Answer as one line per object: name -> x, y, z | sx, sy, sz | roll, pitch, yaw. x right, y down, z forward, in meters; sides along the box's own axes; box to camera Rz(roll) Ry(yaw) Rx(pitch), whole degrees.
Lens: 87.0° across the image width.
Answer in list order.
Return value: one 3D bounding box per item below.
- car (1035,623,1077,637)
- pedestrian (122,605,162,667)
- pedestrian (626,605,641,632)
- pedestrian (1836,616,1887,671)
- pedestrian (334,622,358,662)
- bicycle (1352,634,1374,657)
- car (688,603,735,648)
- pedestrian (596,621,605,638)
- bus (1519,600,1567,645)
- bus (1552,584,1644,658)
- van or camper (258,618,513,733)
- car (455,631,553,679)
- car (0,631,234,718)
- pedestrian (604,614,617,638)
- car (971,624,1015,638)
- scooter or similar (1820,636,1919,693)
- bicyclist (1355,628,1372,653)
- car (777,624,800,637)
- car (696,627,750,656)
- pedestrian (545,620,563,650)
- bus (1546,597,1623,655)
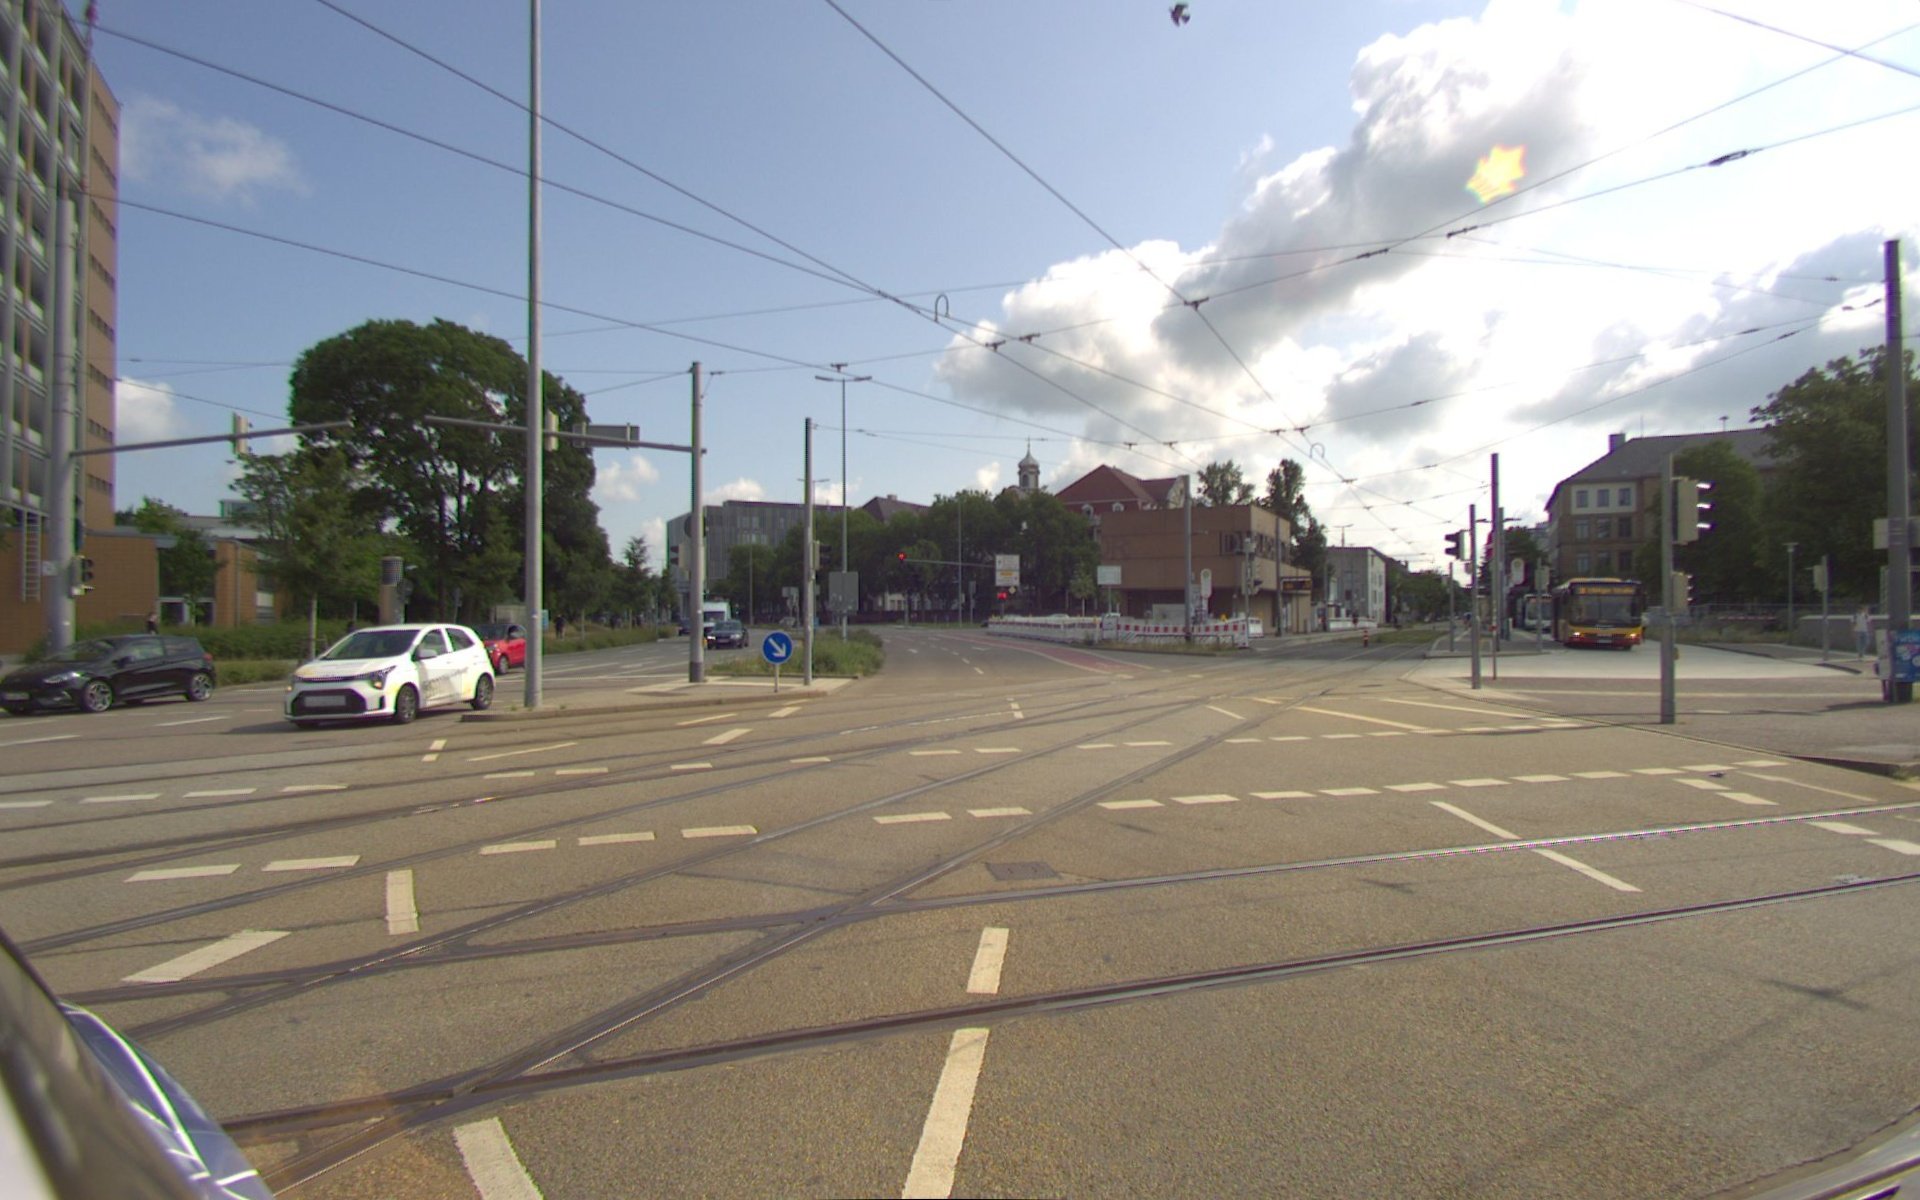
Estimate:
car -> 9.875, 3.034, 103.935 | 4.059, 1.401, 1.765 | 0, -2, -28
pedestrian -> -27.975, 1.242, 34.611 | 0.724, 2.028, 0.797 | 5, 0, 39
pedestrian -> -24.802, 1.421, 76.947 | 0.970, 2.029, 1.133 | 1, 0, -16
pedestrian -> 29.586, 1.422, 33.237 | 0.925, 1.702, 1.088 | -3, 0, 26
pedestrian -> -24.557, 1.668, 40.497 | 0.474, 1.532, 0.580 | 4, 0, 5
bicycle -> 19.185, 2.170, 48.127 | 0.808, 1.000, 2.051 | 1, -3, 26
car -> -16.823, 1.718, 68.924 | 2.447, 2.901, 6.159 | -1, -2, -7
pedestrian -> -44.711, 3.685, 126.043 | 0.970, 2.029, 1.133 | 0, -2, -15
bus -> 49.186, 1.883, 85.669 | 2.951, 3.534, 12.137 | -1, -2, 28
bus -> 26.789, 0.915, 42.762 | 2.688, 2.855, 7.032 | -1, -2, 28
van or camper -> -8.802, 1.080, 15.941 | 1.607, 1.487, 3.997 | -2, 0, 2
car -> -13.814, 1.638, 30.815 | 1.588, 1.223, 3.009 | 1, 1, 1
car -> -16.976, 1.405, 20.288 | 1.693, 1.465, 3.991 | -1, 0, 7
pedestrian -> -30.784, 2.282, 89.048 | 0.970, 2.029, 1.133 | 1, 0, -16
car -> 3.258, 3.082, 100.404 | 4.059, 1.401, 1.765 | 0, -2, -28
scooter or similar -> 20.969, 1.468, 23.145 | 1.469, 1.198, 1.342 | 1, 0, -13
bicyclist -> 19.197, 1.926, 48.154 | 0.693, 1.161, 0.732 | 1, -3, 26
car -> -23.164, 4.075, 136.434 | 1.965, 1.580, 4.798 | 3, -1, -22
car -> -12.141, 2.094, 52.109 | 1.970, 1.291, 4.548 | 1, 0, -4
pedestrian -> -25.999, 2.243, 64.790 | 0.750, 1.885, 0.645 | 5, 0, 0
bus -> 29.573, 1.245, 48.111 | 2.689, 2.607, 5.030 | -1, -2, 28
